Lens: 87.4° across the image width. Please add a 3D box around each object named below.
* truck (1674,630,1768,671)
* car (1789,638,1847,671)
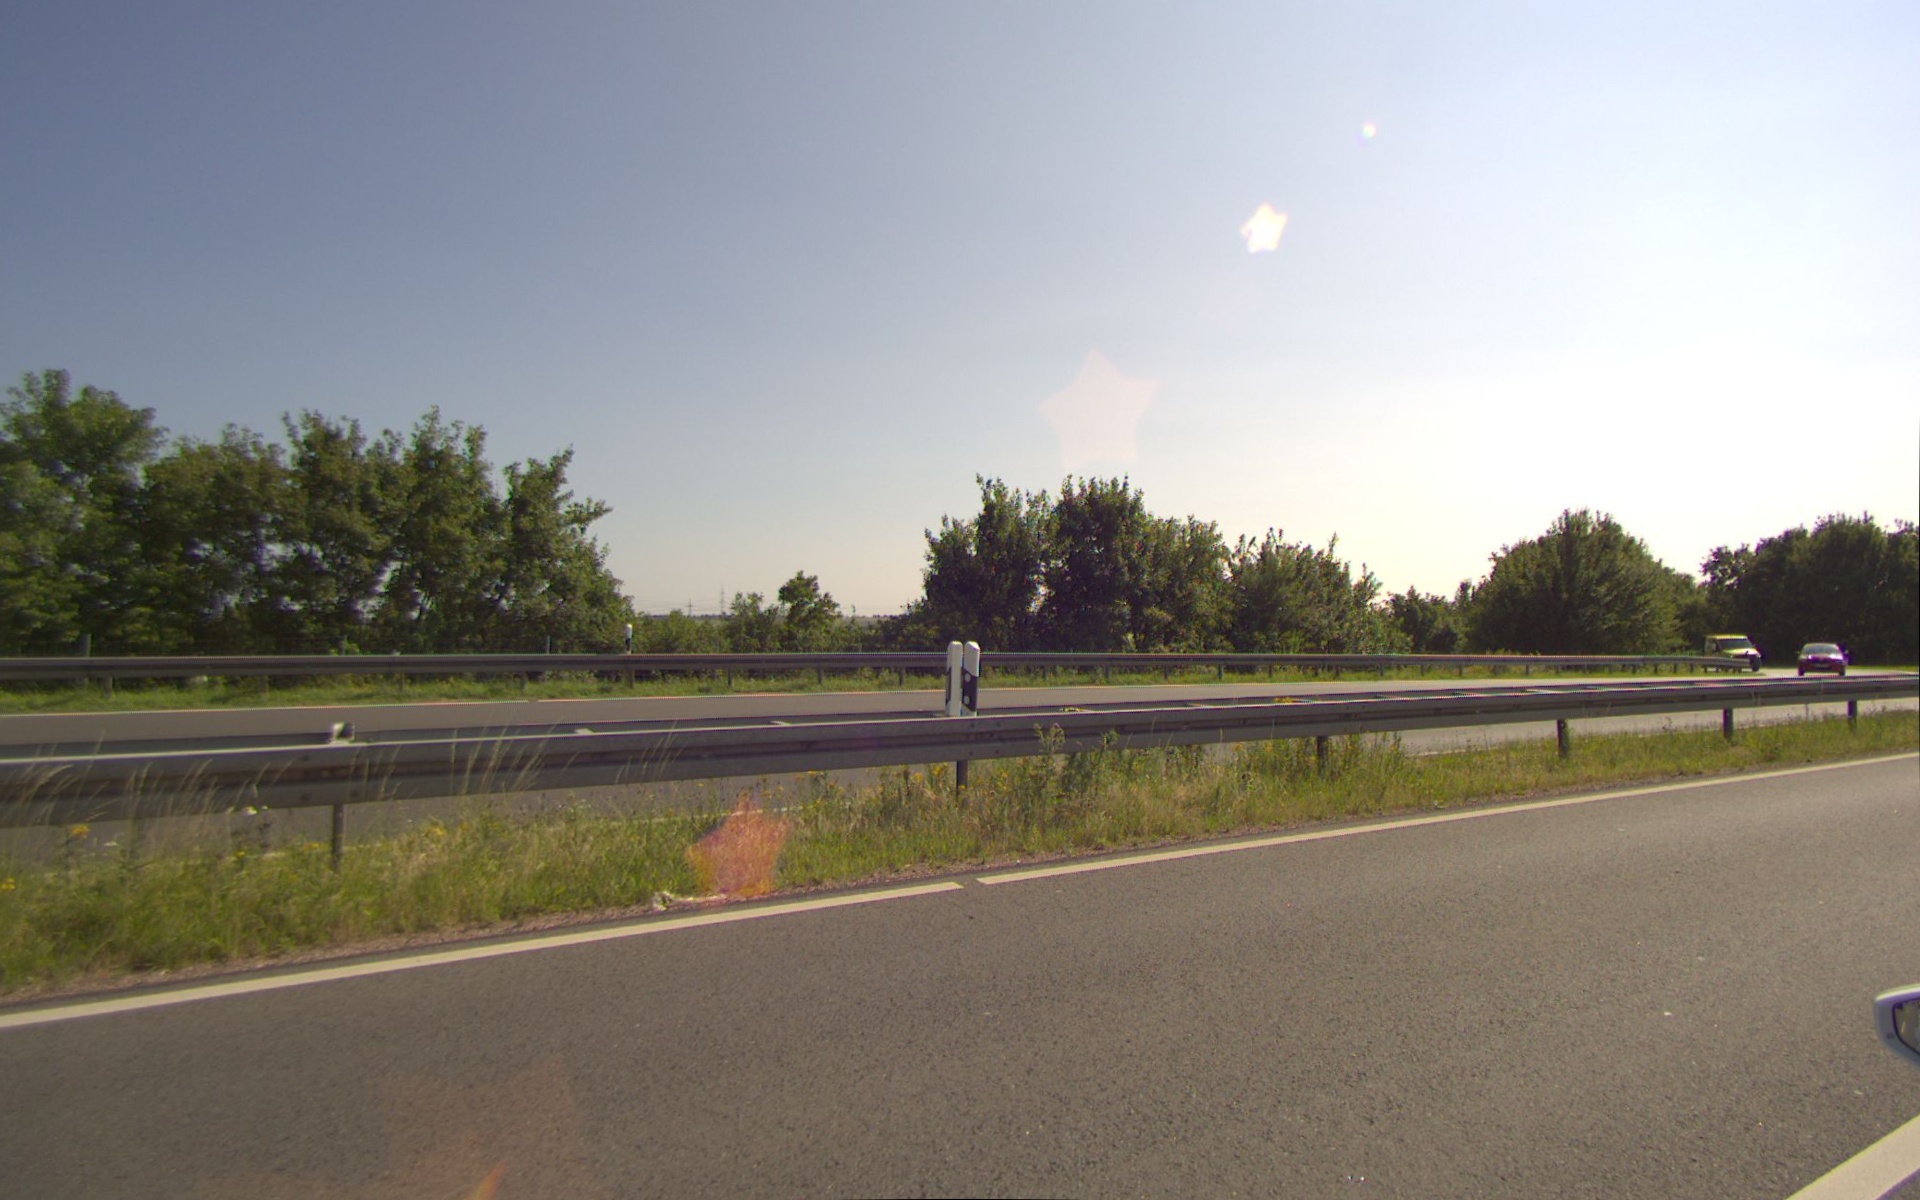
[{"bbox_3d":[49.689,3.340,65.799,2.090,2.485,6.624,-1,-3,10],"label":"truck"},{"bbox_3d":[40.709,2.572,47.623,3.974,1.465,1.767,2,-2,-44],"label":"car"}]
